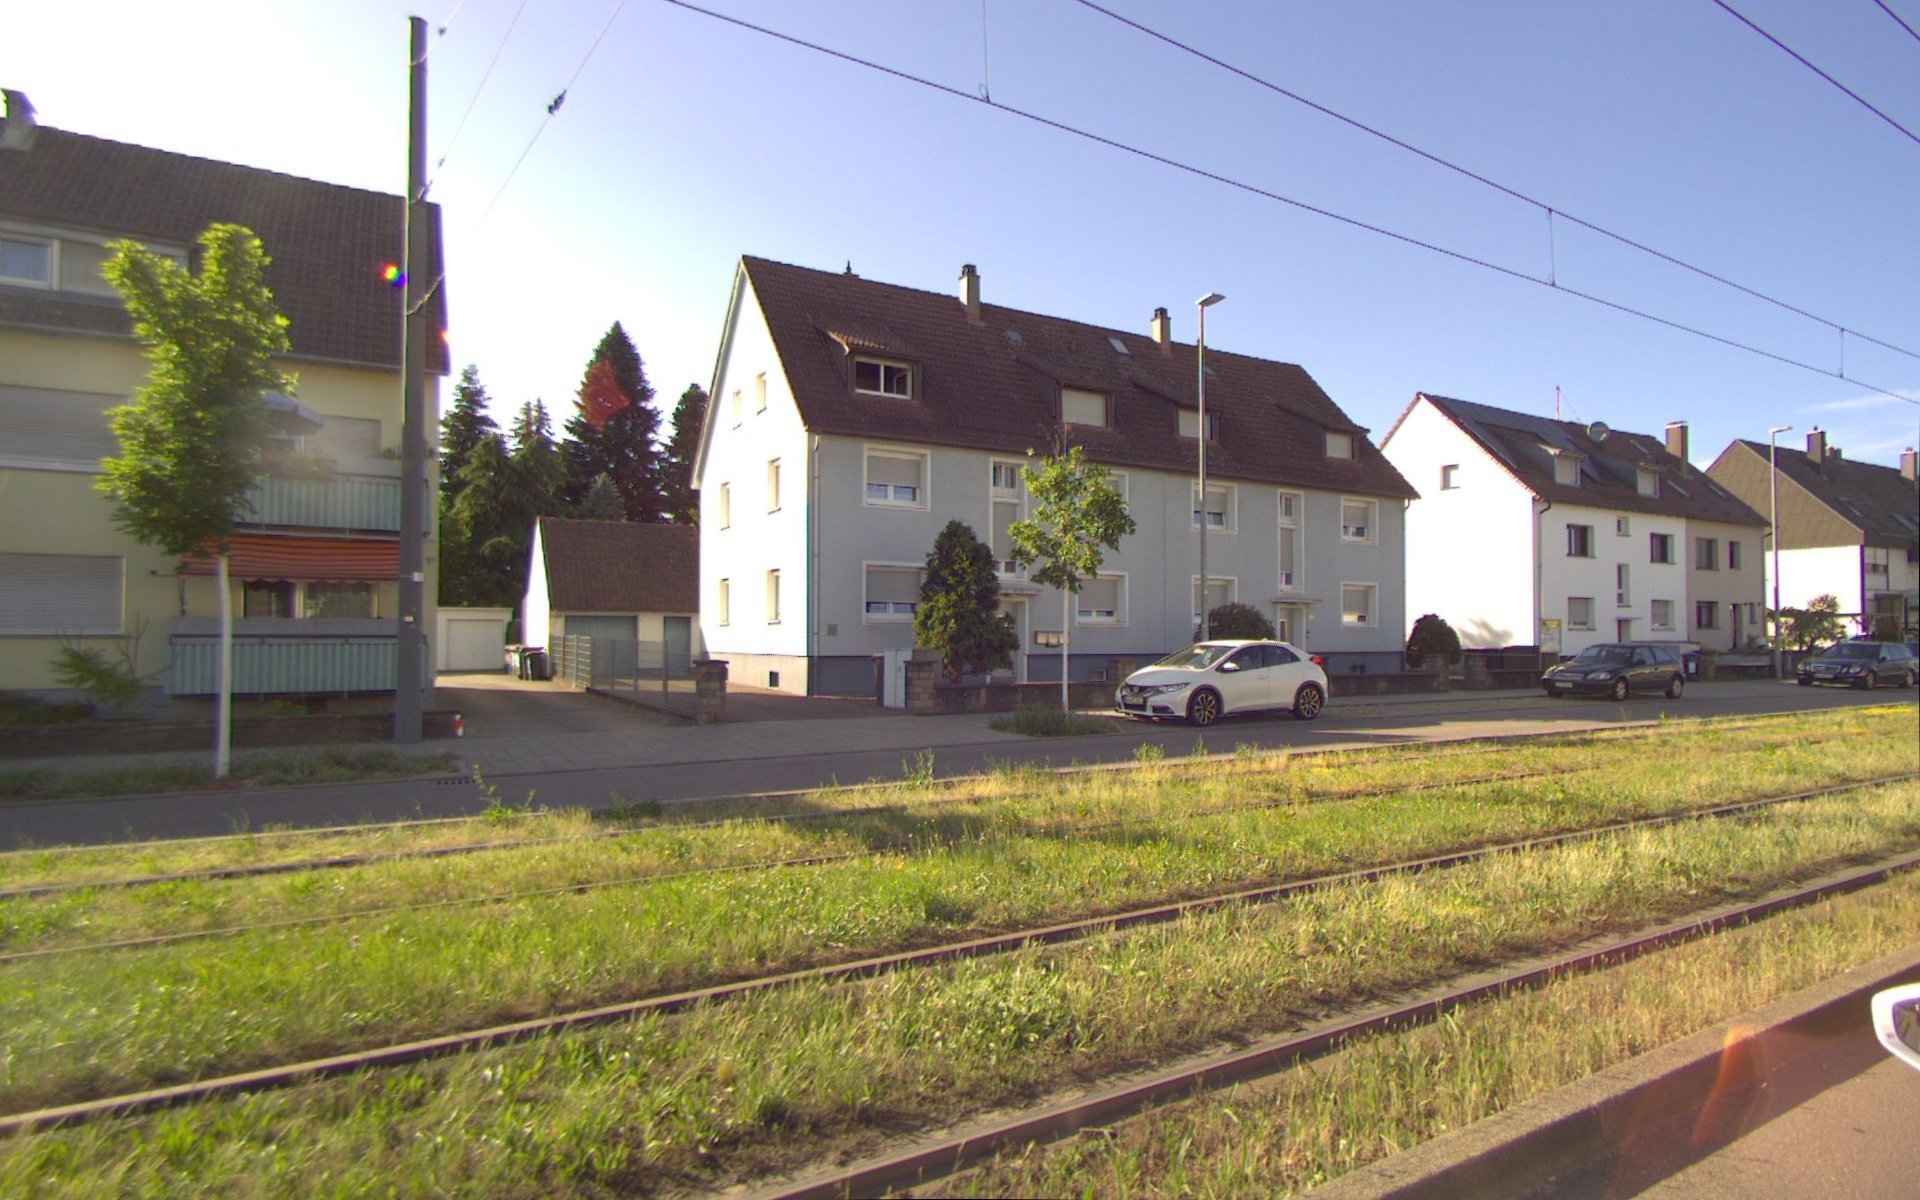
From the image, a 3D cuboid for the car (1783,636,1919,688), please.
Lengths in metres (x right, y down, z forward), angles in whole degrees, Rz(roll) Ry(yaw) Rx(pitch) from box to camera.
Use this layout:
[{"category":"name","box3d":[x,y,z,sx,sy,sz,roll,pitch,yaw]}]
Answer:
[{"category":"car","box3d":[28.853,1.963,32.351,4.817,1.543,1.870,1,-2,-27]}]

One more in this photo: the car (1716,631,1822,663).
[{"category":"car","box3d":[44.229,2.552,55.033,1.832,1.676,4.146,1,-2,-26]}]

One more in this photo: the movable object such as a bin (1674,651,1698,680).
[{"category":"movable object such as a bin","box3d":[23.824,2.138,32.949,0.696,0.939,0.386,3,-3,-31]}]

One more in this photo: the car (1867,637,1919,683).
[{"category":"car","box3d":[33.386,2.048,34.901,4.149,1.494,1.514,1,-2,-29]}]

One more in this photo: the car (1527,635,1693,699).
[{"category":"car","box3d":[16.356,1.631,25.248,4.115,1.482,1.783,1,-2,-29]}]

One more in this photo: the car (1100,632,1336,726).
[{"category":"car","box3d":[4.738,1.376,18.318,4.163,1.538,1.686,1,-3,-29]}]

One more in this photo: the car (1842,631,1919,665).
[{"category":"car","box3d":[46.888,2.382,50.005,1.740,1.638,4.142,1,-2,-32]}]
